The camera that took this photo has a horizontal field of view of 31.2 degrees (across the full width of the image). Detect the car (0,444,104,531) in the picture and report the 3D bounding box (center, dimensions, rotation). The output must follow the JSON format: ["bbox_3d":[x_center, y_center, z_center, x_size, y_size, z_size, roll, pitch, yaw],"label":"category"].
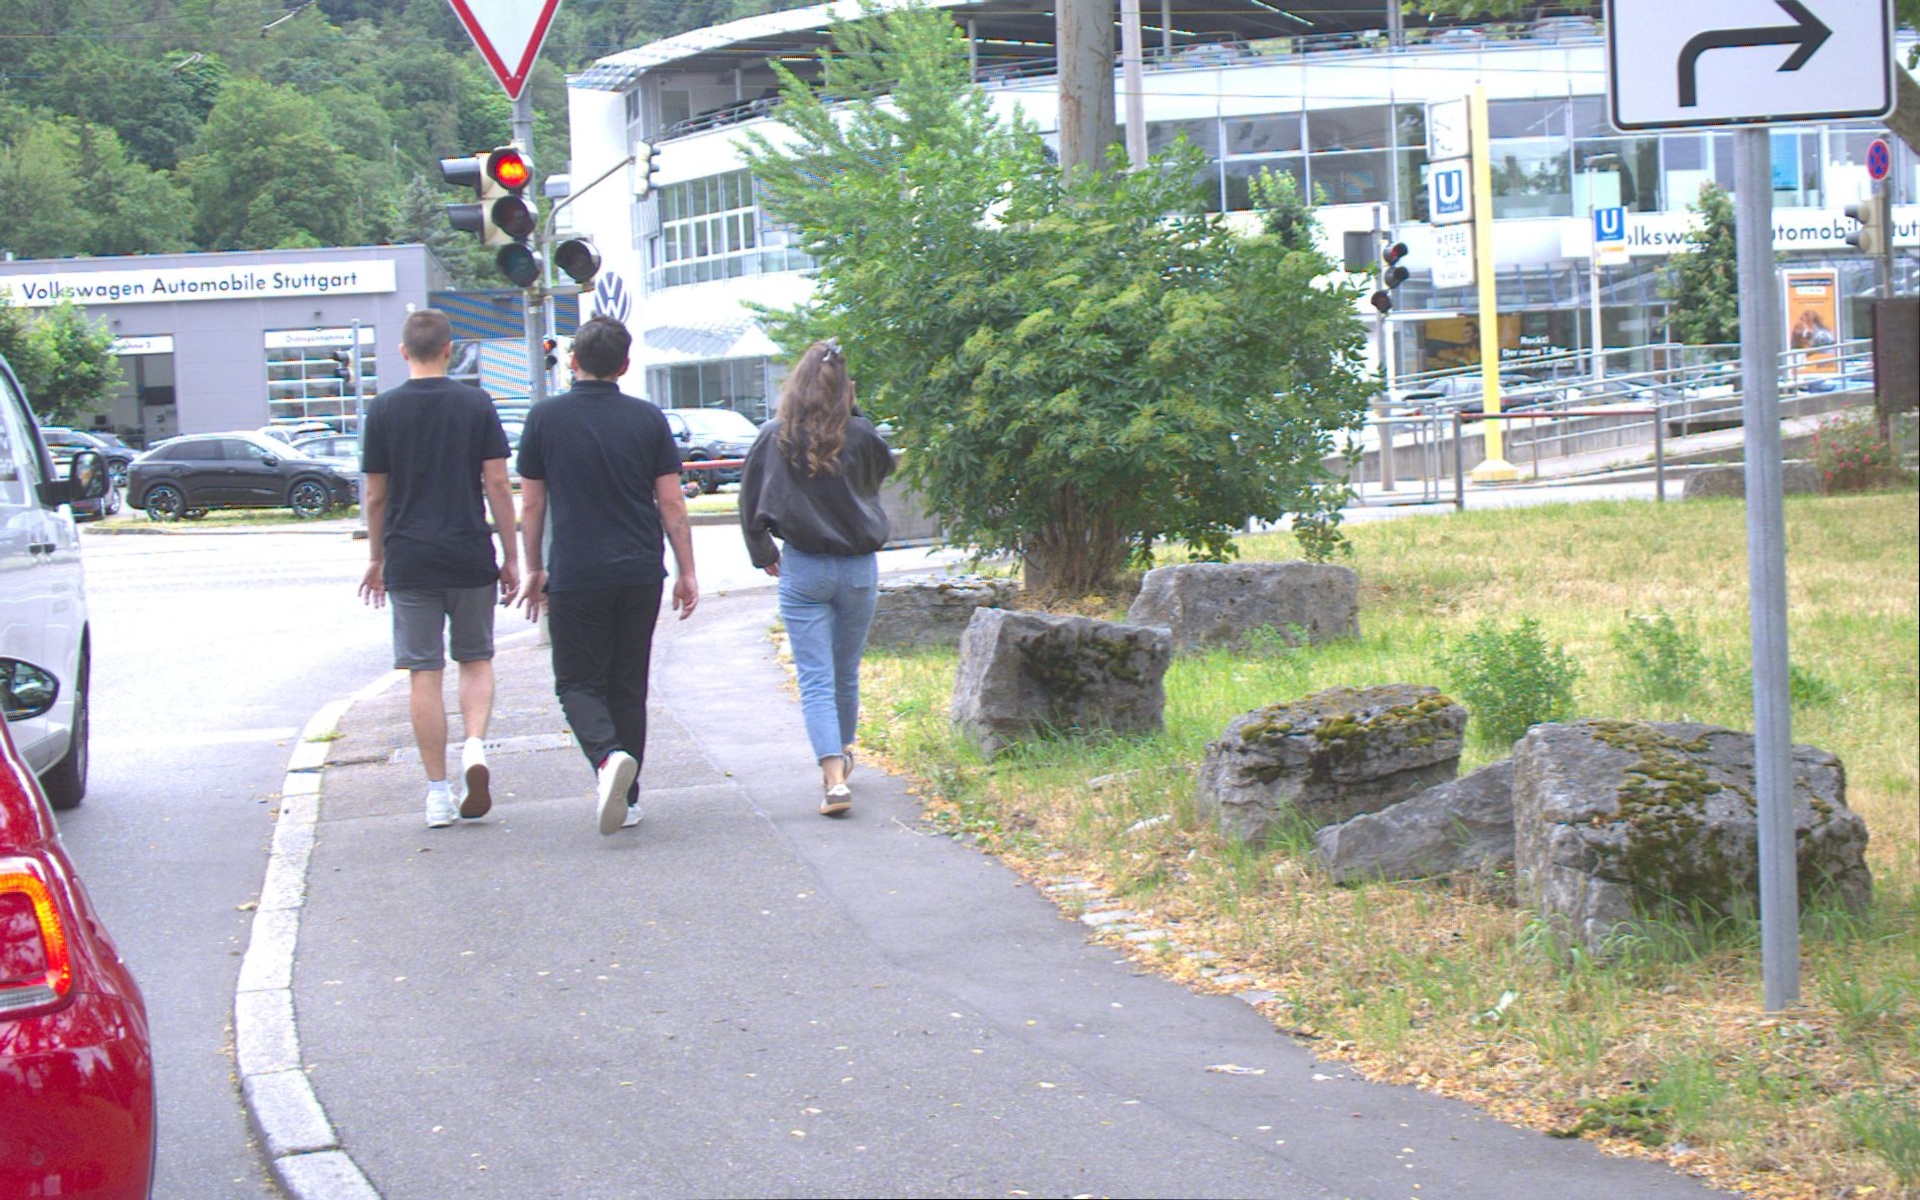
[{"bbox_3d":[-20.544,-2.570,77.511,1.993,1.809,4.002,-3,3,-9],"label":"car"}]

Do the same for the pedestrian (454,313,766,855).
[{"bbox_3d":[-1.173,-0.072,11.454,0.693,1.708,0.788,-4,3,-29],"label":"pedestrian"}]

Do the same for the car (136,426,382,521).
[{"bbox_3d":[-12.450,-2.258,61.166,3.869,1.495,1.775,-2,3,7],"label":"car"}]

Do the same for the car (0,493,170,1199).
[{"bbox_3d":[-2.533,0.561,6.225,1.638,1.451,3.432,-3,3,-21],"label":"car"}]

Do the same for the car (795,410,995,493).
[{"bbox_3d":[-1.324,-2.960,68.773,1.771,1.495,4.020,-5,4,-41],"label":"car"}]

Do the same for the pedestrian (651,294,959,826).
[{"bbox_3d":[-0.540,-0.152,11.834,0.693,1.733,0.788,-4,3,-29],"label":"pedestrian"}]

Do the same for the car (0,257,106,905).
[{"bbox_3d":[-4.239,-0.078,11.791,1.989,2.099,4.763,-3,3,-8],"label":"car"}]

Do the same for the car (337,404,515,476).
[{"bbox_3d":[-14.902,-4.481,96.159,4.795,1.796,1.776,-3,3,-8],"label":"car"}]

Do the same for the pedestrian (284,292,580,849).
[{"bbox_3d":[-1.853,-0.120,12.027,0.693,1.850,0.788,-4,3,-29],"label":"pedestrian"}]

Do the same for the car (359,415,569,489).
[{"bbox_3d":[-11.709,-3.519,81.351,4.795,1.528,1.776,-3,3,-8],"label":"car"}]

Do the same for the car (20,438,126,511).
[{"bbox_3d":[-19.992,-2.854,77.599,1.769,1.528,4.092,-3,3,-8],"label":"car"}]

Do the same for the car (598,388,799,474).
[{"bbox_3d":[-5.081,-3.256,66.494,1.771,1.495,3.879,-5,4,-43],"label":"car"}]

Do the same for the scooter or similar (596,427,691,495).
[{"bbox_3d":[-5.836,-2.574,63.453,1.668,1.173,0.467,-3,3,-3],"label":"scooter or similar"}]

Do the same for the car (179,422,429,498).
[{"bbox_3d":[-13.390,-2.869,70.282,4.672,1.323,1.776,-2,3,4],"label":"car"}]

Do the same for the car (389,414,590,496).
[{"bbox_3d":[-11.613,-3.585,84.999,4.795,1.796,1.776,-3,3,-8],"label":"car"}]
